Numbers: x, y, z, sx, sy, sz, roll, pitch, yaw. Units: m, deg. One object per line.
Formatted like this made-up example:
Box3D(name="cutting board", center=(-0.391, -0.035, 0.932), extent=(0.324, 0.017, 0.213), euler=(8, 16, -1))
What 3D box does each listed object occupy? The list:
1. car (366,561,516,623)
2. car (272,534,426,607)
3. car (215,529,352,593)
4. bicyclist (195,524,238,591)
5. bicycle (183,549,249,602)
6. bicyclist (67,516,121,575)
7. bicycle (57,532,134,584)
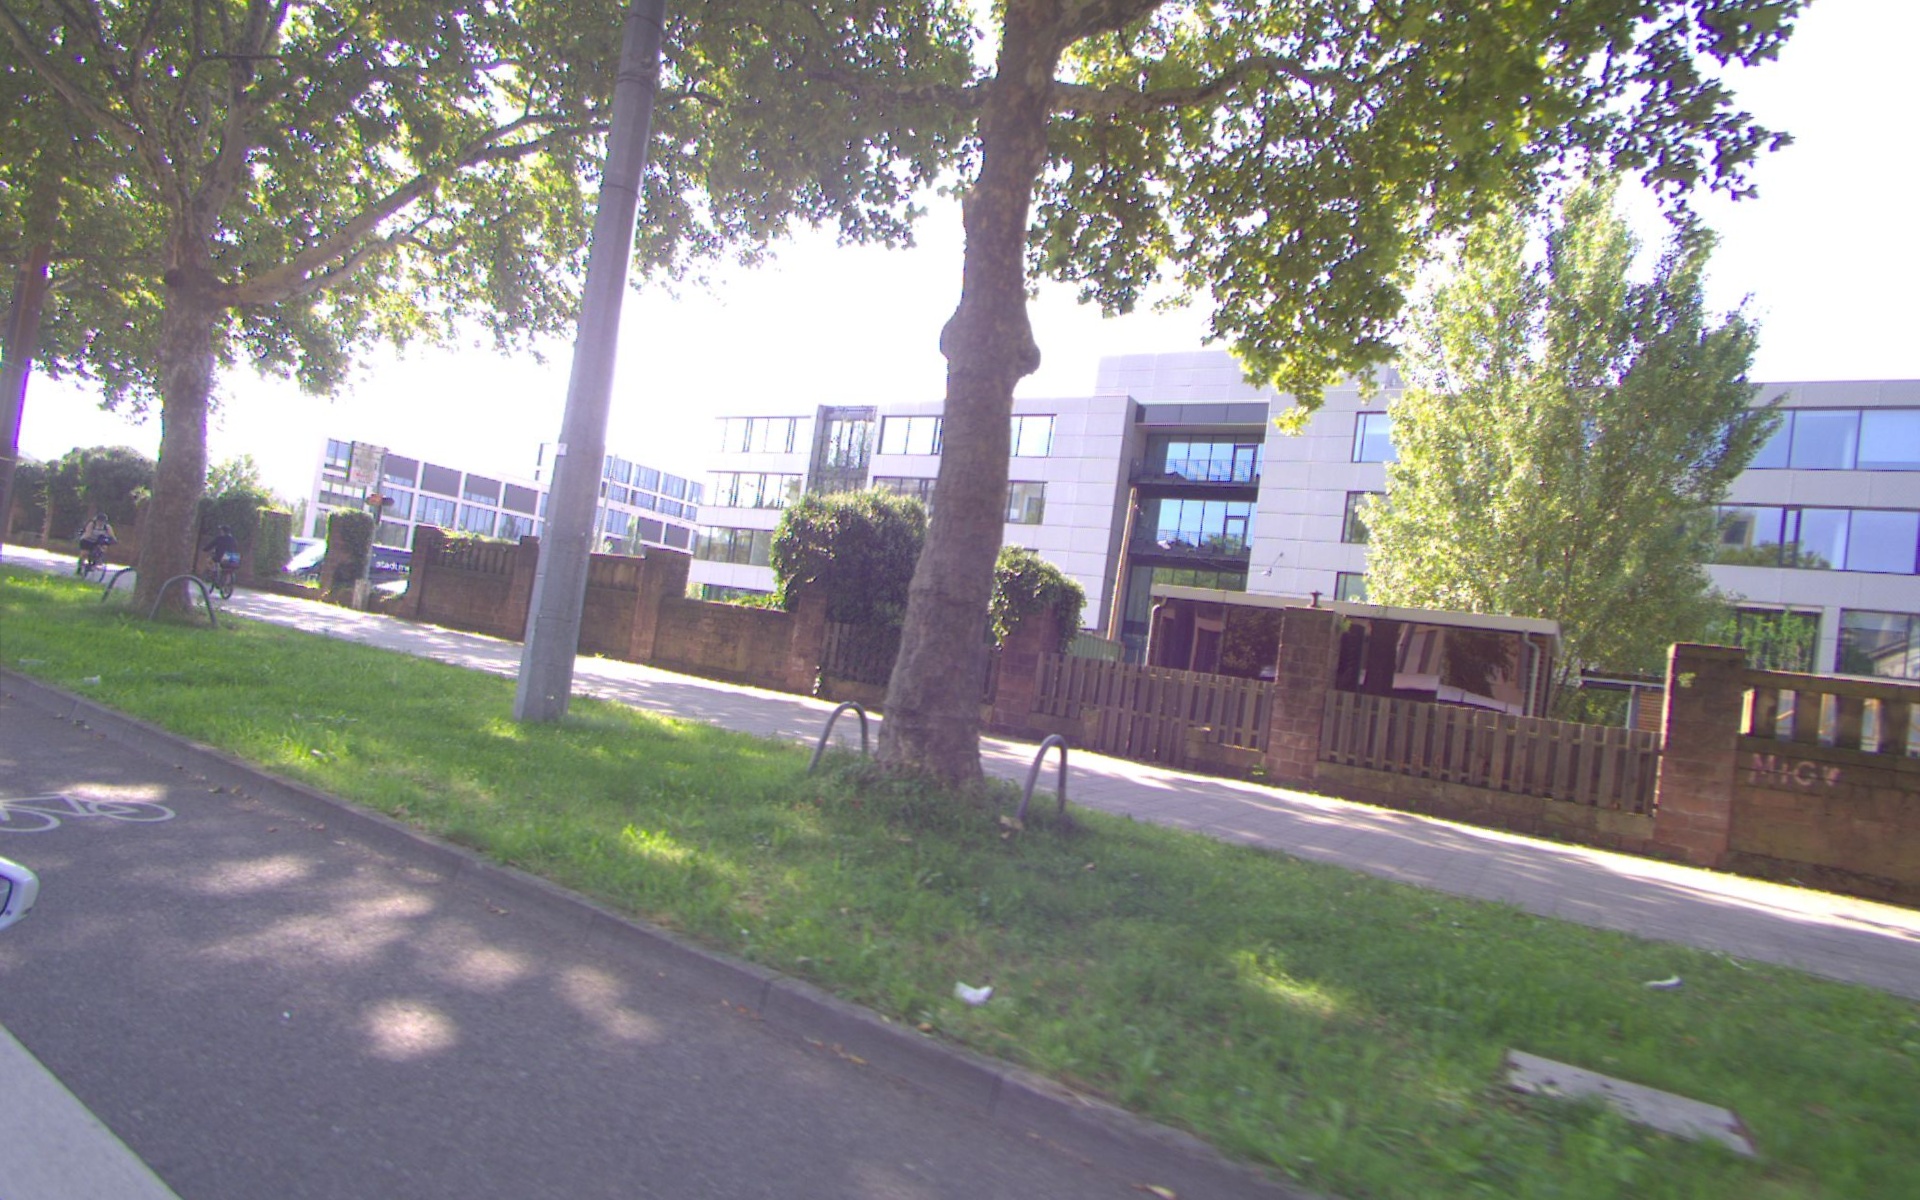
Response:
Box3D(name="car", center=(-16.520, -0.211, 32.233), extent=(1.478, 1.419, 3.998), euler=(7, -3, 30))
Box3D(name="car", center=(-21.585, -1.005, 35.738), extent=(1.535, 1.914, 4.284), euler=(7, -3, 30))
Box3D(name="car", center=(-26.501, -1.491, 39.544), extent=(1.535, 1.863, 4.012), euler=(7, -3, 30))
Box3D(name="bicyclist", center=(-18.440, -1.051, 24.948), extent=(0.586, 1.557, 0.470), euler=(7, -2, 29))
Box3D(name="bicycle", center=(-18.433, -0.609, 24.899), extent=(1.825, 1.101, 0.492), euler=(7, -2, 29))
Box3D(name="bicyclist", center=(-20.909, -1.314, 24.285), extent=(0.716, 1.291, 0.670), euler=(7, -1, 31))
Box3D(name="bicycle", center=(-20.851, -1.019, 24.255), extent=(2.181, 1.017, 0.683), euler=(6, -2, 31))
